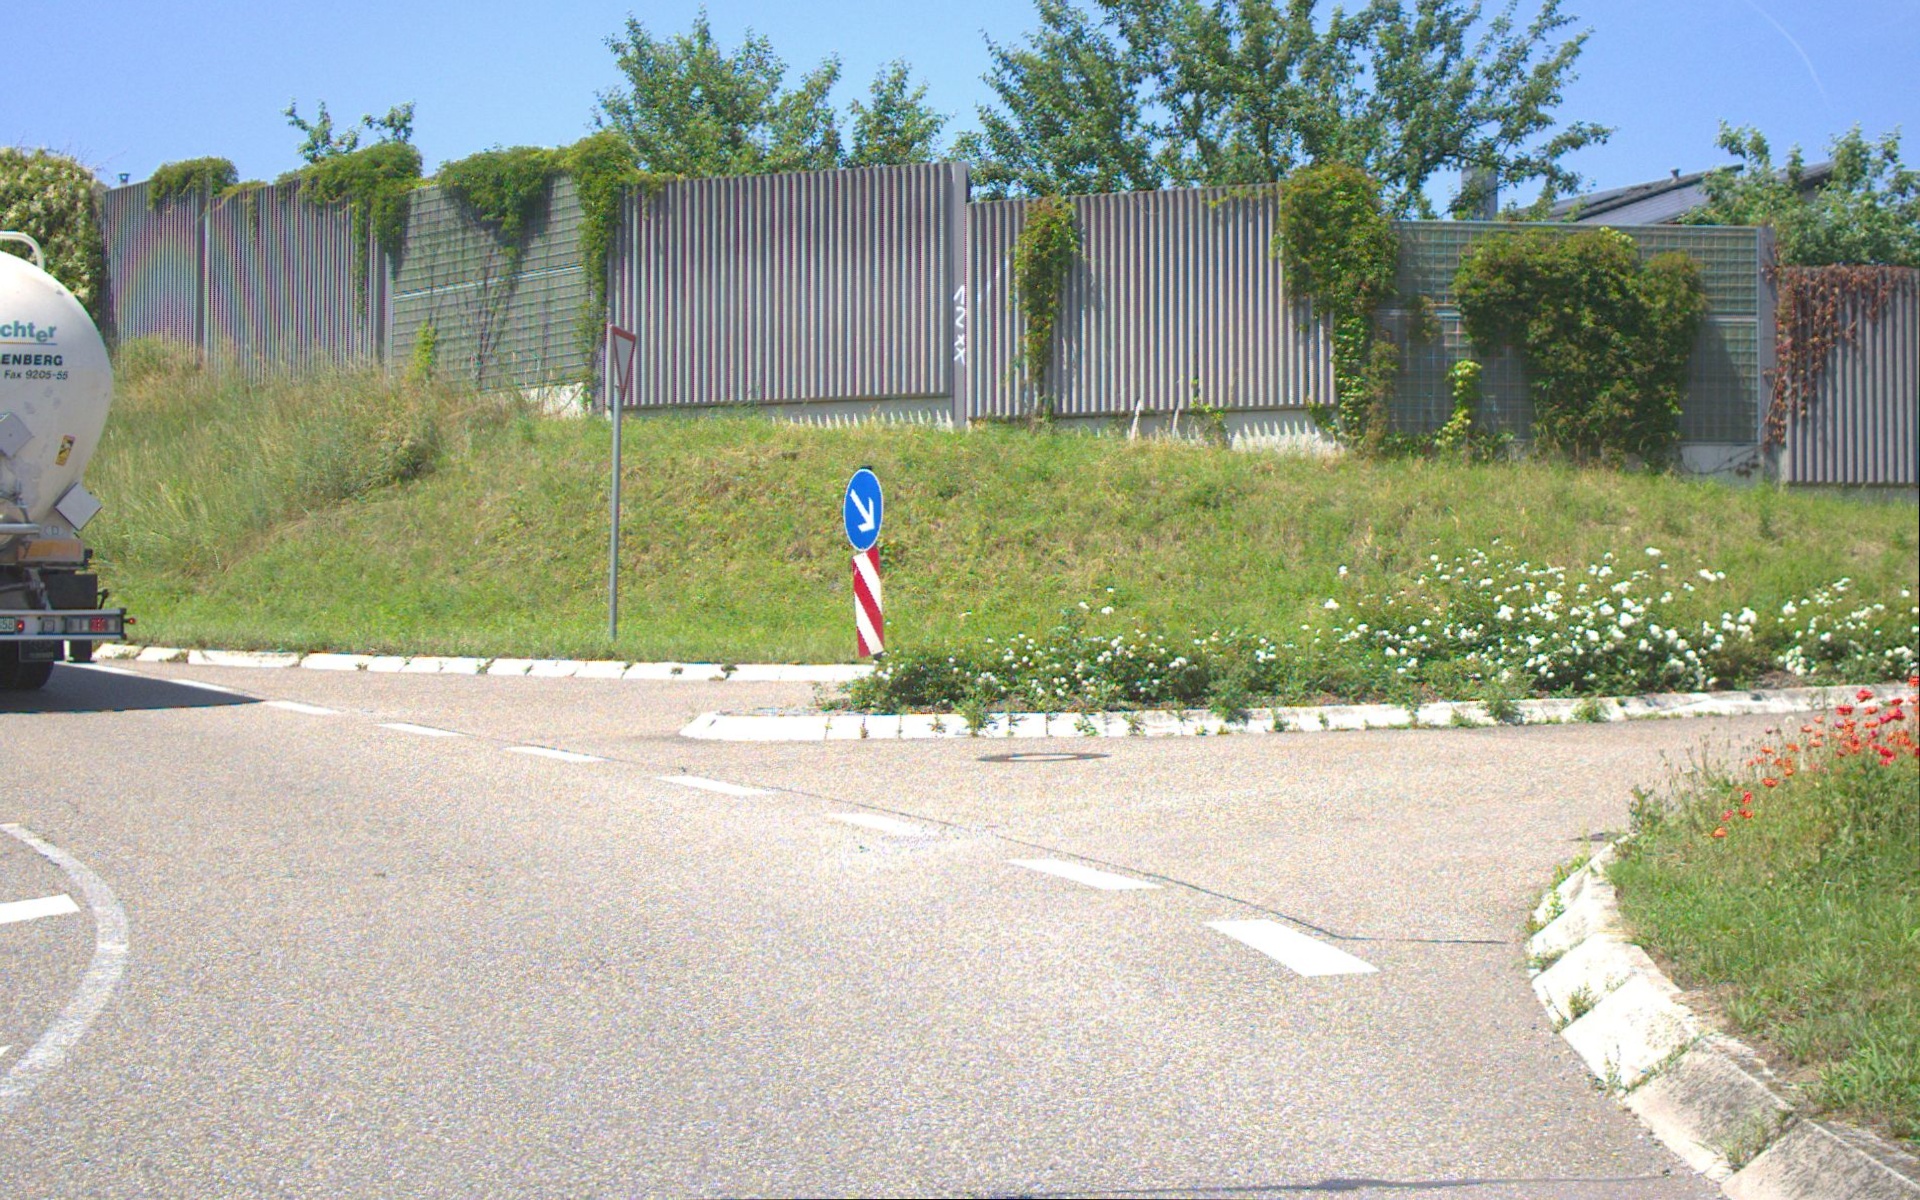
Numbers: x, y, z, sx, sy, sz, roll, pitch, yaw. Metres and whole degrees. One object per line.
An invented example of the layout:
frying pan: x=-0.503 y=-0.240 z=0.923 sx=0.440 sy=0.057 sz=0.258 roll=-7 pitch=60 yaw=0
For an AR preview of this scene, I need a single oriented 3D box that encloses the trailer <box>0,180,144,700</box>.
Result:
trailer: x=-10.861 y=-1.438 z=32.683 sx=2.661 sy=4.174 sz=11.905 roll=-1 pitch=2 yaw=-30
